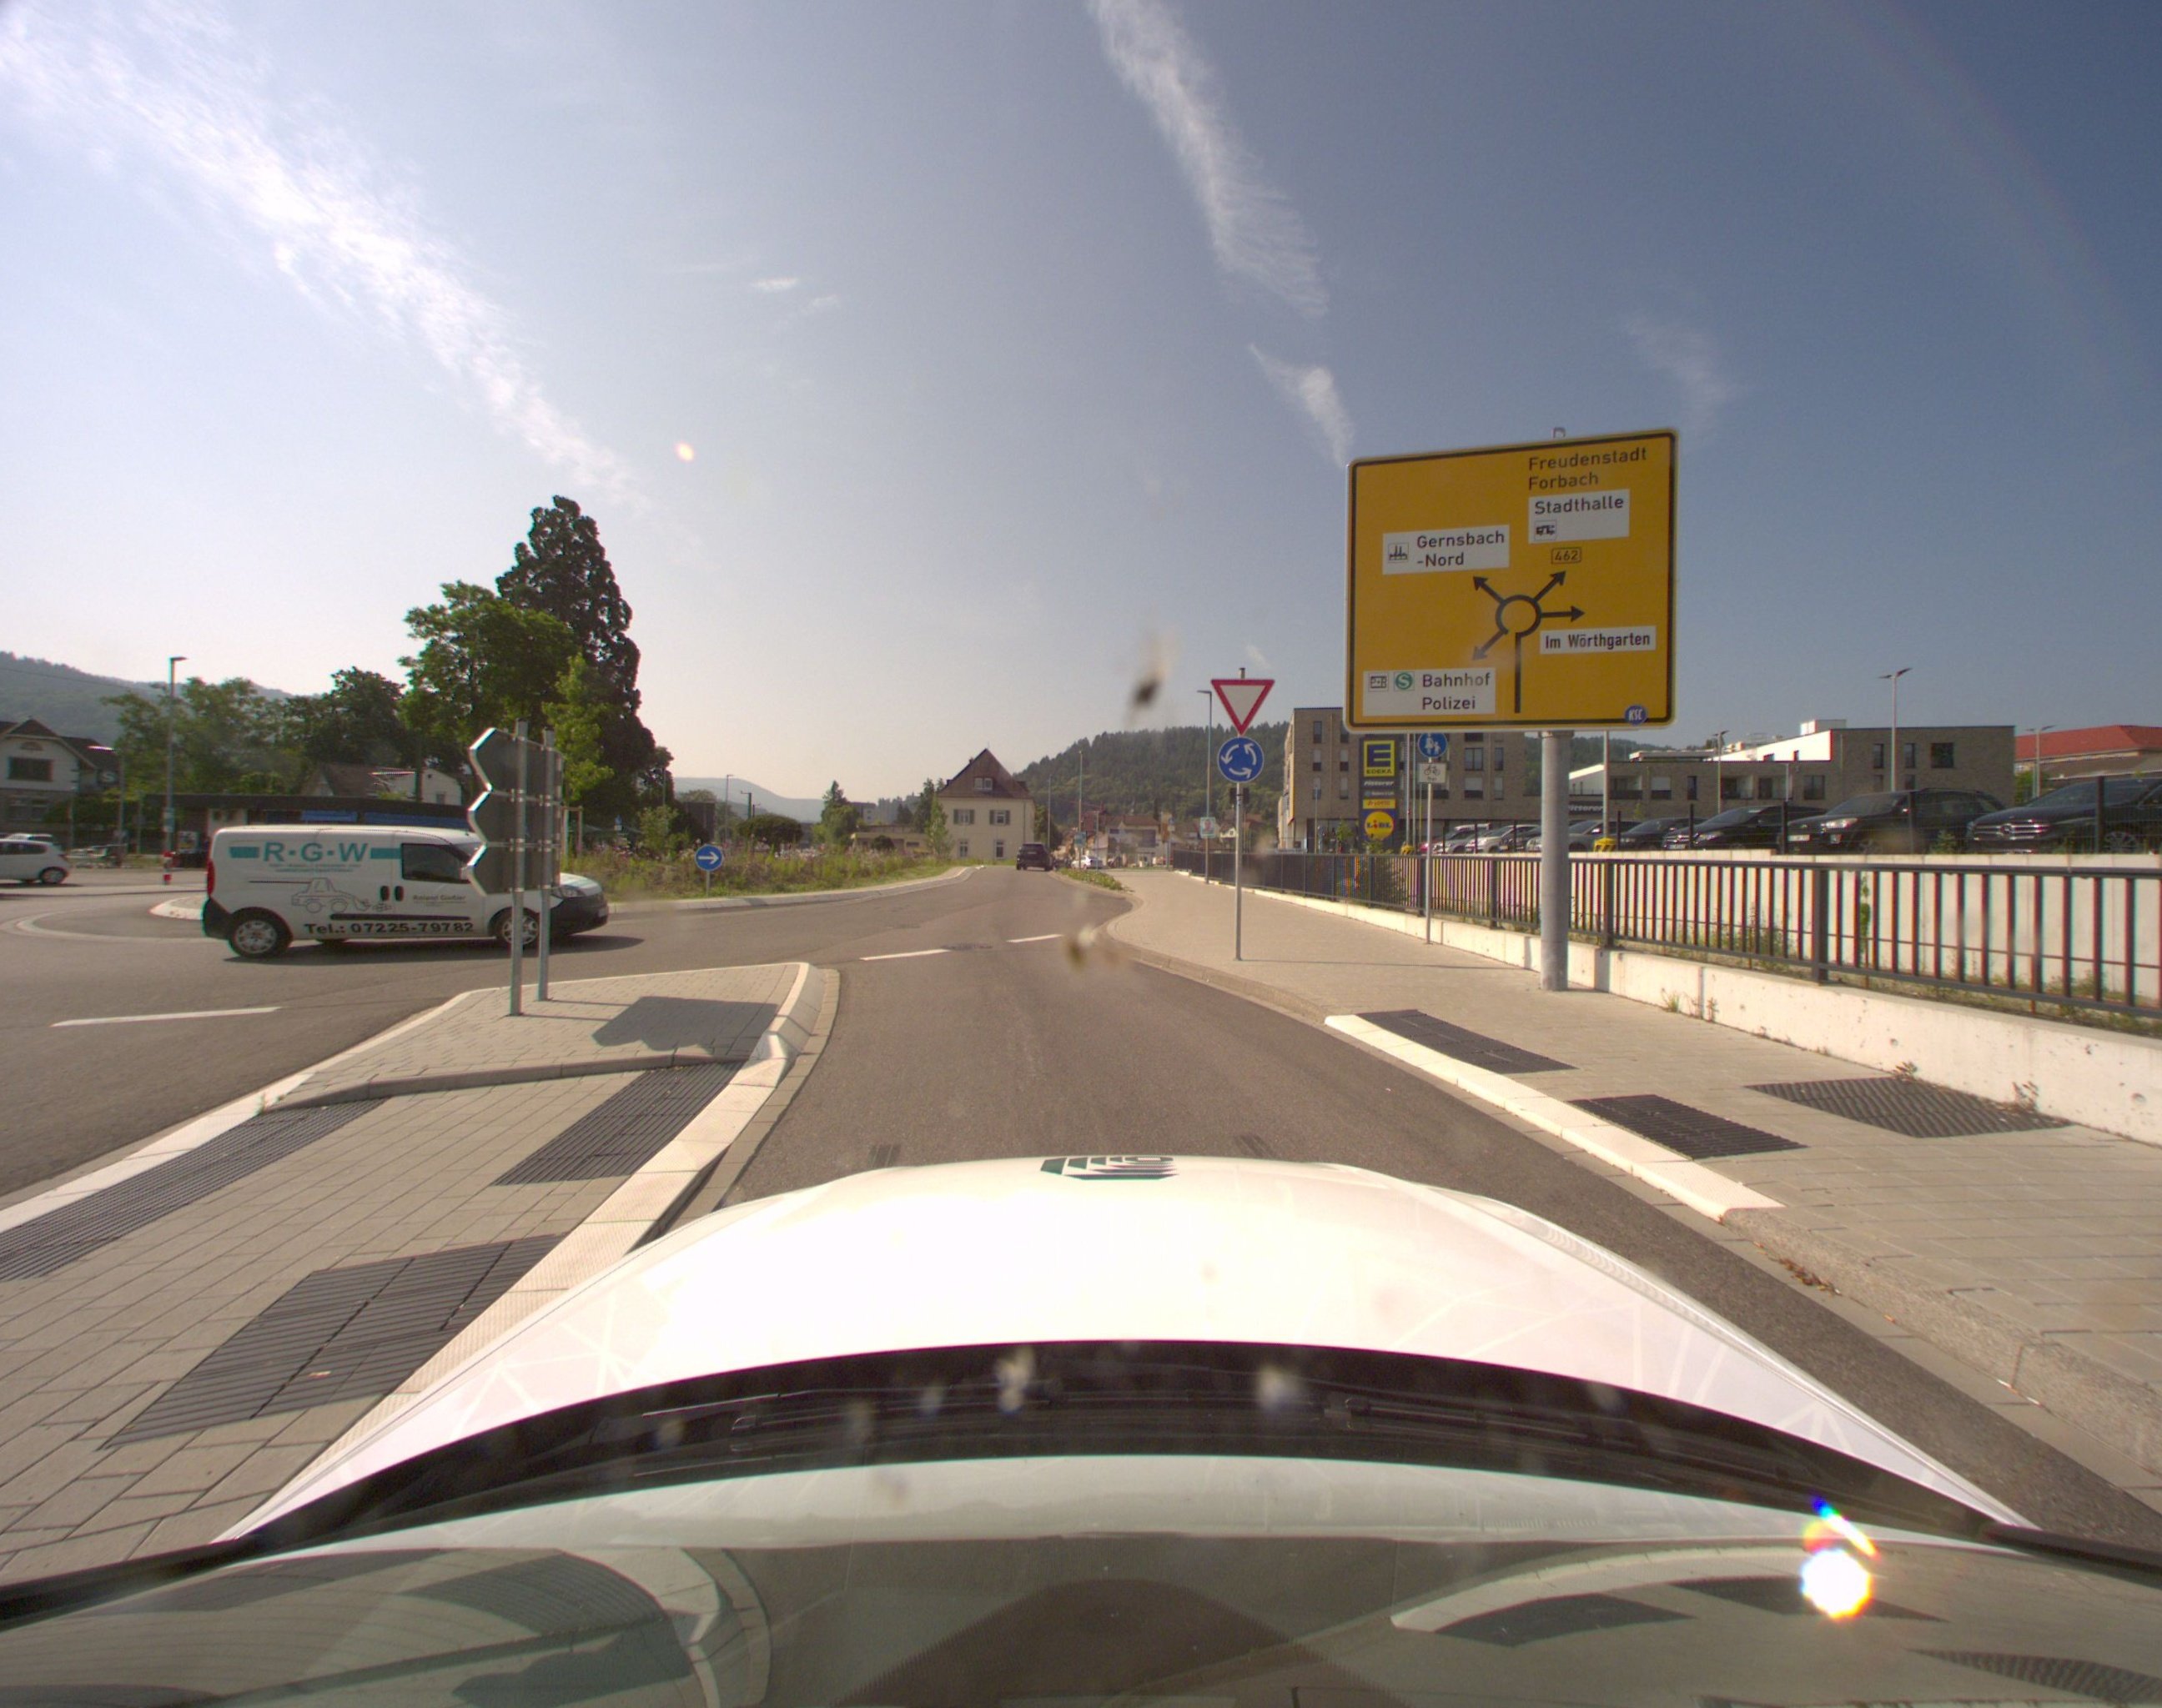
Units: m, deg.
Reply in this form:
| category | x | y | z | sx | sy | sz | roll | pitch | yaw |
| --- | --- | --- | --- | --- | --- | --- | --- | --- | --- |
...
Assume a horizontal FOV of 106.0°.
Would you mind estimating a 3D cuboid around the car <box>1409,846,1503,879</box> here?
| category | x | y | z | sx | sy | sz | roll | pitch | yaw |
| --- | --- | --- | --- | --- | --- | --- | --- | --- | --- |
| car | 17.235 | 0.407 | 37.517 | 3.546 | 1.430 | 1.709 | 1 | 0 | -2 |

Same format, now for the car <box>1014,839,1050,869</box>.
| category | x | y | z | sx | sy | sz | roll | pitch | yaw |
| --- | --- | --- | --- | --- | --- | --- | --- | --- | --- |
| car | -2.811 | 0.030 | 47.804 | 1.875 | 1.684 | 3.999 | 0 | -1 | 0 |

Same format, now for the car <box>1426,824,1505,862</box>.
| category | x | y | z | sx | sy | sz | roll | pitch | yaw |
| --- | --- | --- | --- | --- | --- | --- | --- | --- | --- |
| car | 22.248 | -0.593 | 47.334 | 3.954 | 2.136 | 2.009 | 0 | -2 | 19 |

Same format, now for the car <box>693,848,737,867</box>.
| category | x | y | z | sx | sy | sz | roll | pitch | yaw |
| --- | --- | --- | --- | --- | --- | --- | --- | --- | --- |
| car | -22.778 | 0.221 | 50.836 | 1.385 | 1.172 | 3.240 | 1 | 0 | -3 |

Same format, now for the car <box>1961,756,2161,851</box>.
| category | x | y | z | sx | sy | sz | roll | pitch | yaw |
| --- | --- | --- | --- | --- | --- | --- | --- | --- | --- |
| car | 17.382 | -0.791 | 13.553 | 4.052 | 1.404 | 1.484 | 1 | 0 | -3 |

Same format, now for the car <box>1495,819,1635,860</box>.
| category | x | y | z | sx | sy | sz | roll | pitch | yaw |
| --- | --- | --- | --- | --- | --- | --- | --- | --- | --- |
| car | 17.124 | -0.503 | 28.933 | 4.026 | 1.342 | 1.659 | 1 | 0 | -2 |

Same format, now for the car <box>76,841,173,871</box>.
| category | x | y | z | sx | sy | sz | roll | pitch | yaw |
| --- | --- | --- | --- | --- | --- | --- | --- | --- | --- |
| car | -44.487 | 0.082 | 37.880 | 3.558 | 1.326 | 1.422 | 1 | -1 | 14 |

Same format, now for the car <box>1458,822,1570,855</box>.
| category | x | y | z | sx | sy | sz | roll | pitch | yaw |
| --- | --- | --- | --- | --- | --- | --- | --- | --- | --- |
| car | 17.105 | -0.596 | 32.245 | 3.546 | 1.199 | 1.713 | 1 | 0 | -2 |

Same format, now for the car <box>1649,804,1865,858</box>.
| category | x | y | z | sx | sy | sz | roll | pitch | yaw |
| --- | --- | --- | --- | --- | --- | --- | --- | --- | --- |
| car | 17.133 | -0.547 | 20.759 | 4.203 | 1.246 | 1.742 | 1 | 0 | -3 |

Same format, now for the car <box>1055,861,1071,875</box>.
| category | x | y | z | sx | sy | sz | roll | pitch | yaw |
| --- | --- | --- | --- | --- | --- | --- | --- | --- | --- |
| car | -2.636 | 1.997 | 116.747 | 1.990 | 2.014 | 3.992 | 0 | -1 | -5 |

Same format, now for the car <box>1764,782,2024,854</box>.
| category | x | y | z | sx | sy | sz | roll | pitch | yaw |
| --- | --- | --- | --- | --- | --- | --- | --- | --- | --- |
| car | 17.326 | -0.726 | 17.472 | 3.995 | 1.404 | 1.723 | 1 | 0 | -3 |

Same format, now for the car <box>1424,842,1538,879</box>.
| category | x | y | z | sx | sy | sz | roll | pitch | yaw |
| --- | --- | --- | --- | --- | --- | --- | --- | --- | --- |
| car | 17.135 | 0.281 | 34.993 | 4.043 | 1.487 | 1.716 | 1 | 0 | 0 |

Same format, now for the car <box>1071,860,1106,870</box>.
| category | x | y | z | sx | sy | sz | roll | pitch | yaw |
| --- | --- | --- | --- | --- | --- | --- | --- | --- | --- |
| car | 0.681 | 1.075 | 77.217 | 3.238 | 0.965 | 1.358 | -1 | -2 | 43 |

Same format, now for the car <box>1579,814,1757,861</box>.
| category | x | y | z | sx | sy | sz | roll | pitch | yaw |
| --- | --- | --- | --- | --- | --- | --- | --- | --- | --- |
| car | 16.791 | -0.448 | 23.411 | 3.957 | 1.246 | 1.728 | 1 | 0 | -3 |

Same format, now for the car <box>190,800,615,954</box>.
| category | x | y | z | sx | sy | sz | roll | pitch | yaw |
| --- | --- | --- | --- | --- | --- | --- | --- | --- | --- |
| car | -9.948 | 0.305 | 12.394 | 4.595 | 2.077 | 1.804 | 1 | 2 | -14 |

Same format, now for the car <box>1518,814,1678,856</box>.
| category | x | y | z | sx | sy | sz | roll | pitch | yaw |
| --- | --- | --- | --- | --- | --- | --- | --- | --- | --- |
| car | 16.793 | -0.586 | 26.563 | 4.268 | 1.246 | 1.663 | 1 | 0 | -3 |

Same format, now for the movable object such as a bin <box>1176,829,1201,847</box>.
| category | x | y | z | sx | sy | sz | roll | pitch | yaw |
| --- | --- | --- | --- | --- | --- | --- | --- | --- | --- |
| movable object such as a bin | 10.954 | -1.611 | 83.011 | 2.430 | 1.844 | 1.431 | 0 | -2 | 7 |

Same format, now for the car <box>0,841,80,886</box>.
| category | x | y | z | sx | sy | sz | roll | pitch | yaw |
| --- | --- | --- | --- | --- | --- | --- | --- | --- | --- |
| car | -35.604 | 0.278 | 26.442 | 1.377 | 1.450 | 3.552 | 1 | -3 | 18 |
